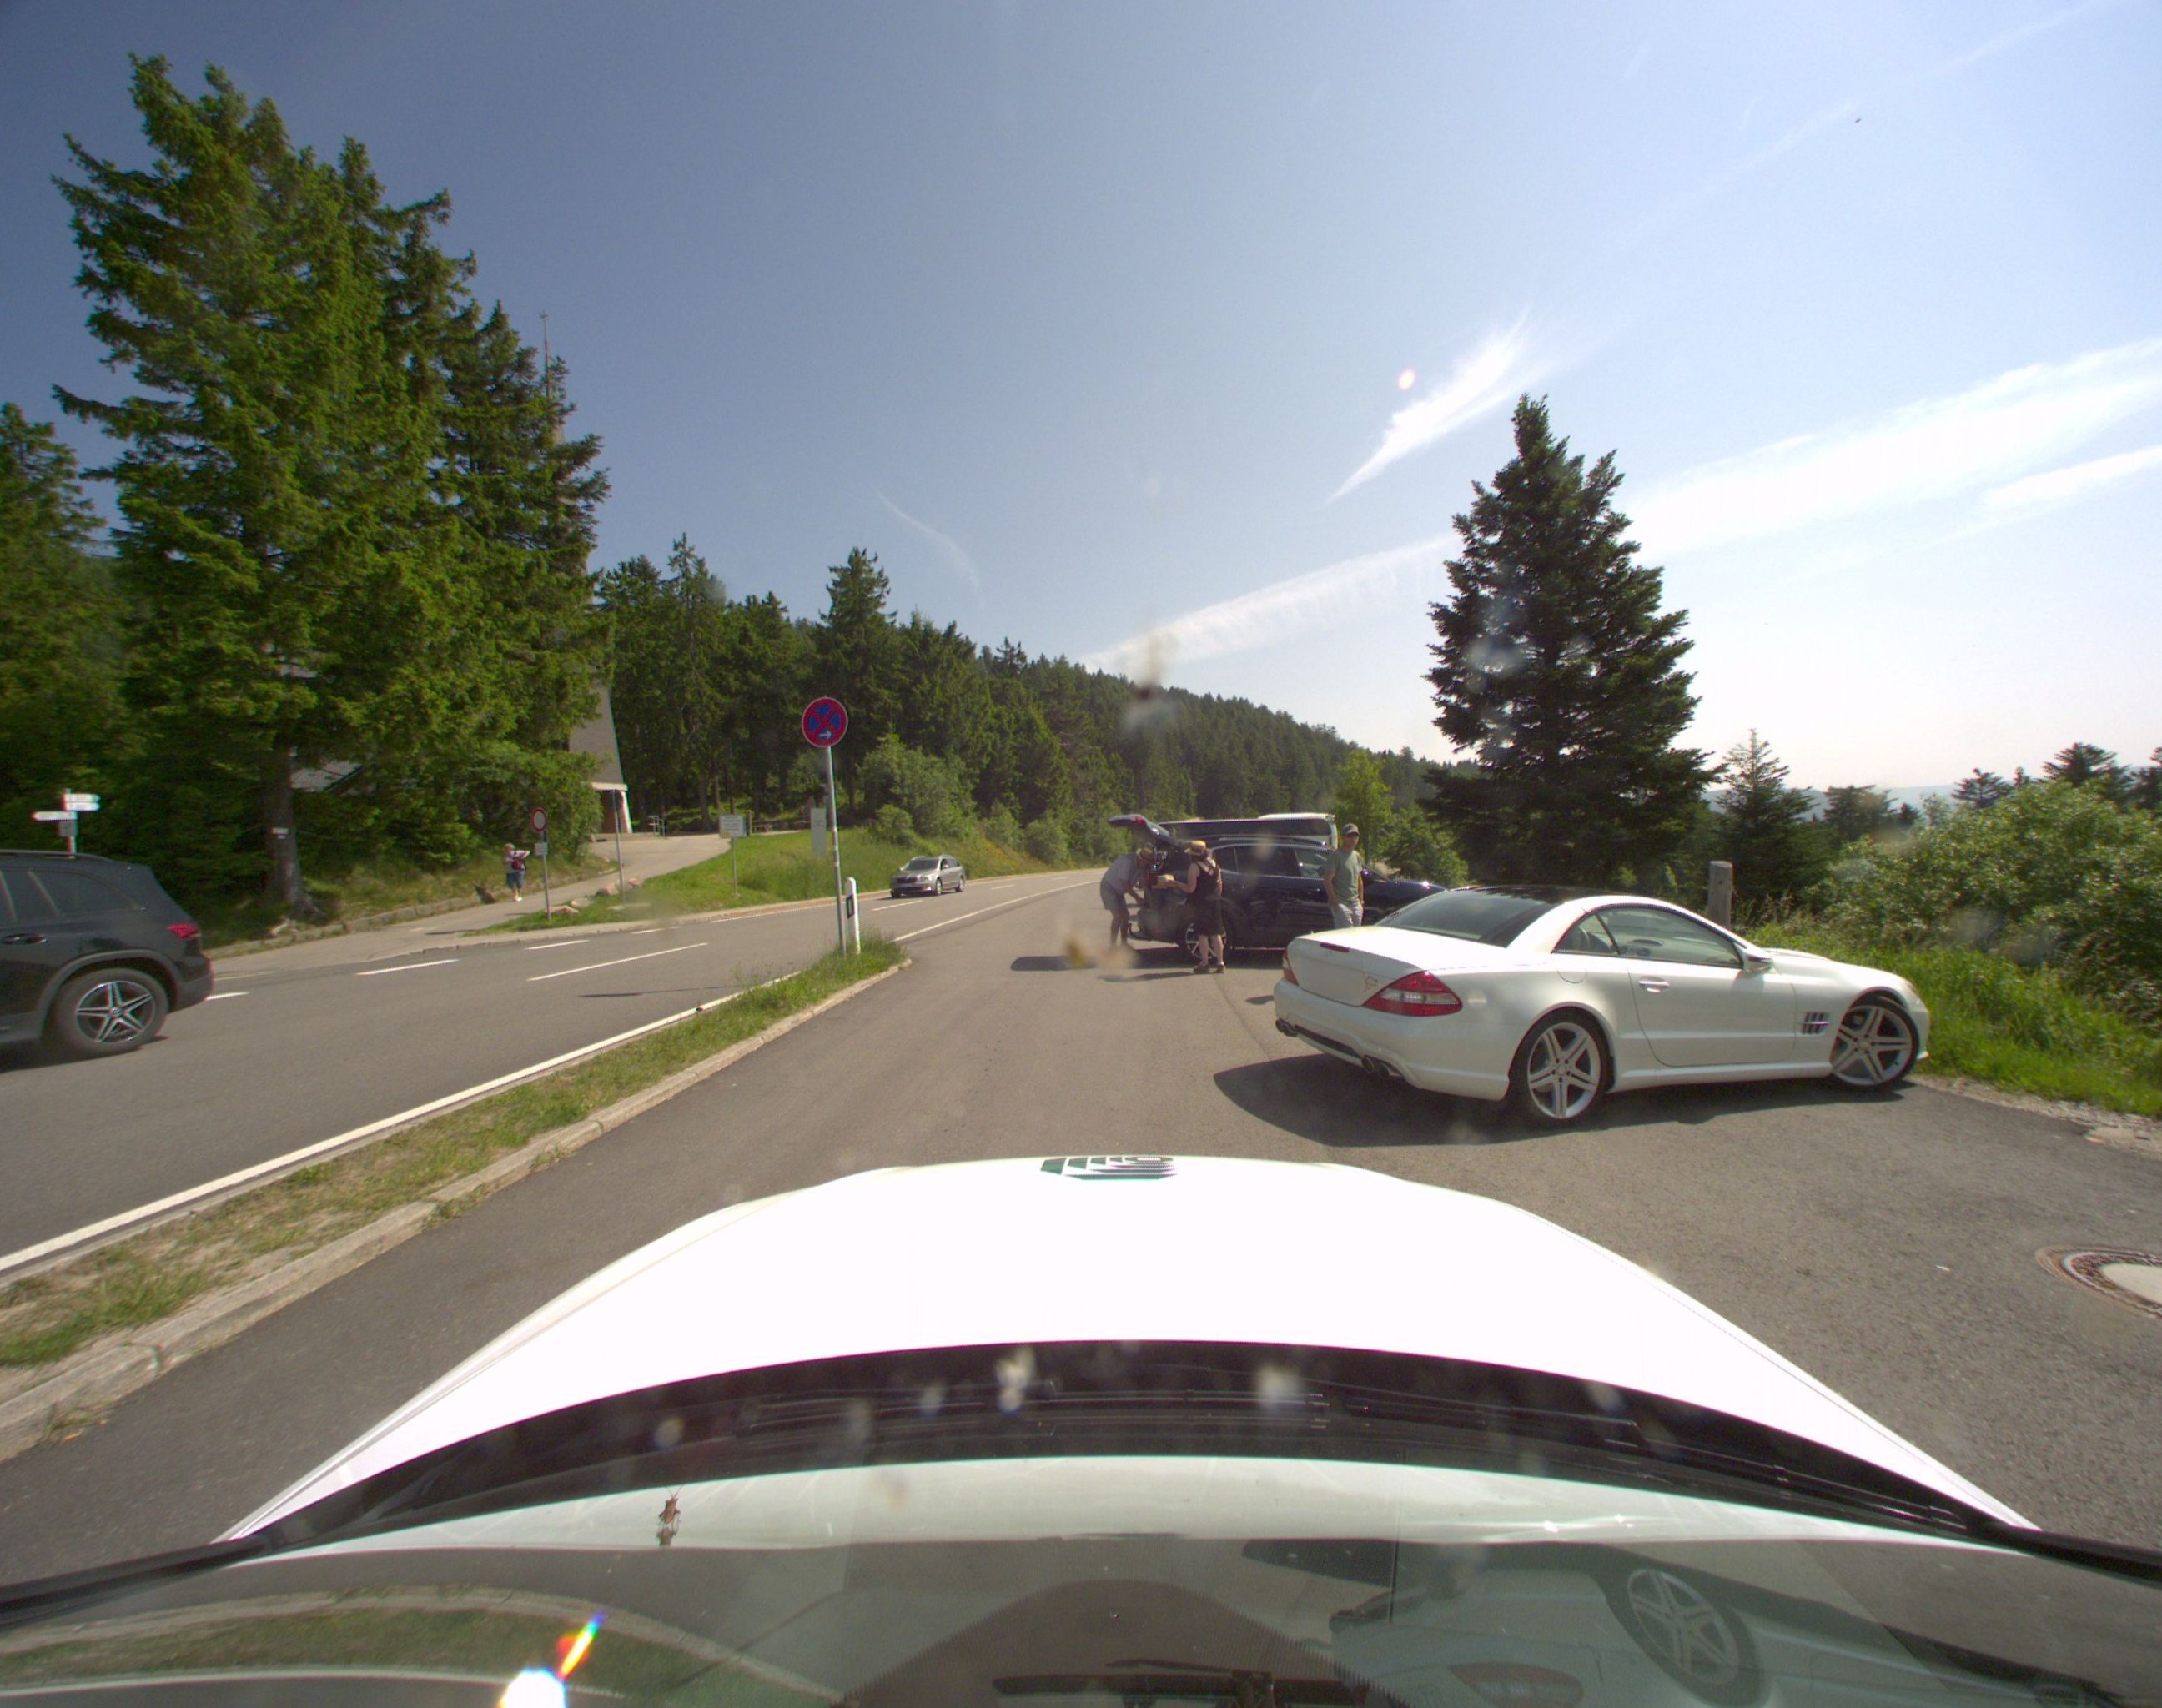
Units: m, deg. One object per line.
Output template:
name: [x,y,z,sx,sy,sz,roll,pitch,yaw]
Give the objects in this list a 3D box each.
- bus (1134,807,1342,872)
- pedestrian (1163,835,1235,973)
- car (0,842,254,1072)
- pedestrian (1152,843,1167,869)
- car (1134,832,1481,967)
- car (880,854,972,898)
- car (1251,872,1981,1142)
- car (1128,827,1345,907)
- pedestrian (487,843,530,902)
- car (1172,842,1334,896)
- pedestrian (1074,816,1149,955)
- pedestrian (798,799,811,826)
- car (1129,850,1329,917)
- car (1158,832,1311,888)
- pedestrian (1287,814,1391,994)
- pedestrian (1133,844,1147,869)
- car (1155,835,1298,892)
bus: [10.248,-0.889,53.505,12.990,3.532,3.057,-3,0,17]
pedestrian: [1.433,0.587,9.918,0.715,1.613,0.534,0,-1,-14]
car: [-8.828,0.797,5.260,1.983,1.647,4.575,-3,0,6]
pedestrian: [5.058,0.126,52.454,0.765,1.585,0.775,-3,0,14]
car: [2.941,0.585,11.311,4.328,1.626,1.870,1,0,1]
car: [-5.754,0.763,30.854,1.868,1.474,4.727,-1,0,9]
car: [3.567,0.810,5.580,4.407,1.296,1.746,0,1,-16]
car: [3.742,0.301,19.951,4.919,1.695,1.950,-2,0,9]
pedestrian: [-16.864,0.534,23.997,0.718,1.681,0.681,-3,0,-5]
car: [4.710,0.411,22.745,4.221,1.269,1.842,-3,0,7]
pedestrian: [0.435,0.401,11.477,0.728,1.870,0.763,1,3,37]
pedestrian: [-19.685,-2.934,57.930,0.674,1.878,0.545,-3,0,39]
car: [3.111,0.605,17.724,4.067,1.376,1.702,0,0,0]
car: [5.285,0.201,28.529,5.007,1.651,2.052,-3,0,7]
pedestrian: [2.719,0.501,8.615,0.749,1.800,0.730,0,-1,-25]
pedestrian: [3.840,0.136,53.003,0.765,1.585,0.775,-3,0,14]
car: [4.506,0.296,25.661,4.221,1.553,1.842,-3,0,7]
